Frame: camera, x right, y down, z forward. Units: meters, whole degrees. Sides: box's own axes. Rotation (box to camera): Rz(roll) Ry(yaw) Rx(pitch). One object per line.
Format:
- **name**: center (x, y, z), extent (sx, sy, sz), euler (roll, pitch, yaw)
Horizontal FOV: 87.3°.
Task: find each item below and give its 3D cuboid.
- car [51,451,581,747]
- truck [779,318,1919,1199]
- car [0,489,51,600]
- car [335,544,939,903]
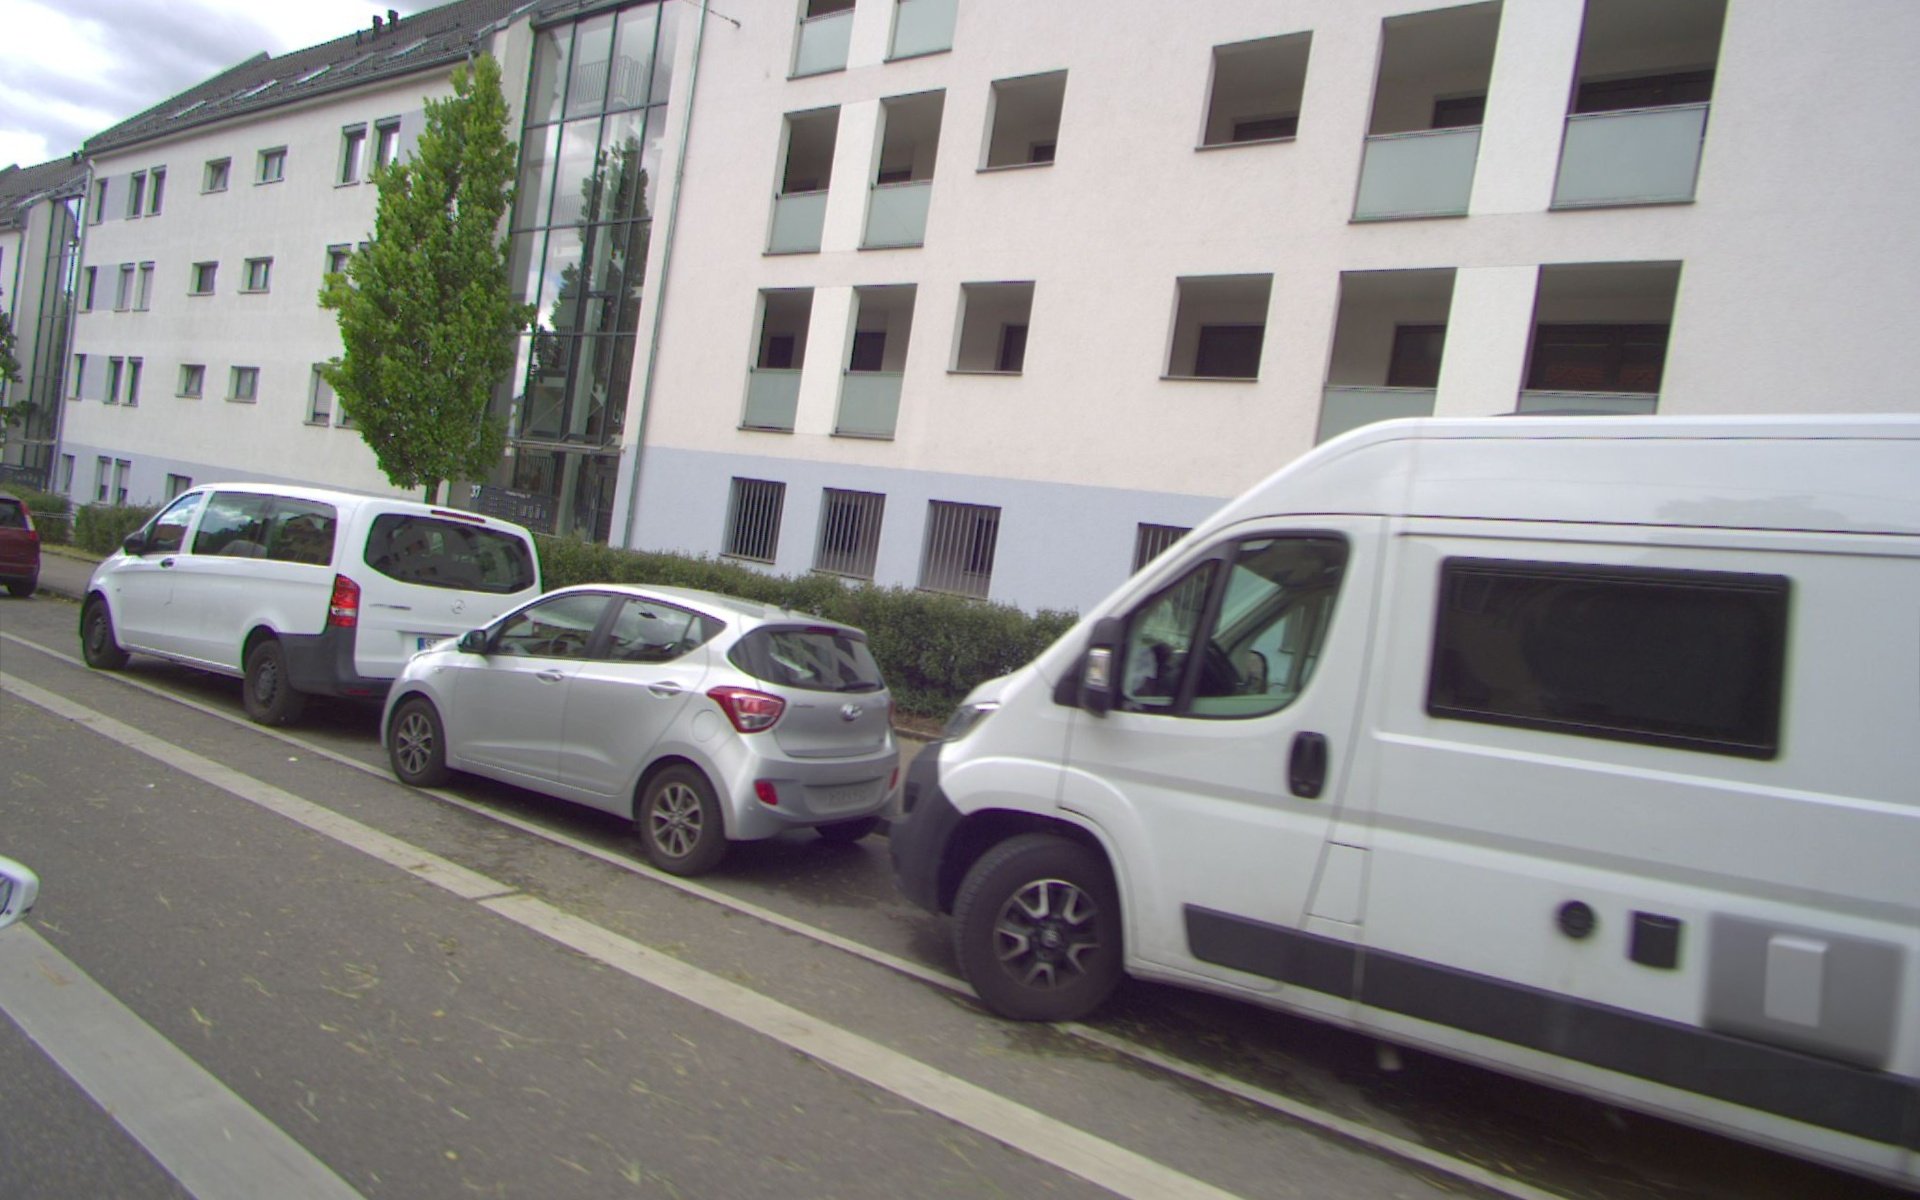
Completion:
- **car**: center (-6.123, -0.121, 9.355), extent (5.124, 1.967, 1.996), euler (7, 0, 32)
- **truck**: center (2.227, 0.540, 3.972), extent (5.594, 2.597, 2.055), euler (7, 0, 31)
- **car**: center (-15.900, -1.077, 15.396), extent (4.266, 1.563, 1.683), euler (7, -1, 31)
- **car**: center (-2.179, 0.641, 6.587), extent (3.662, 1.503, 1.529), euler (7, -1, 29)
